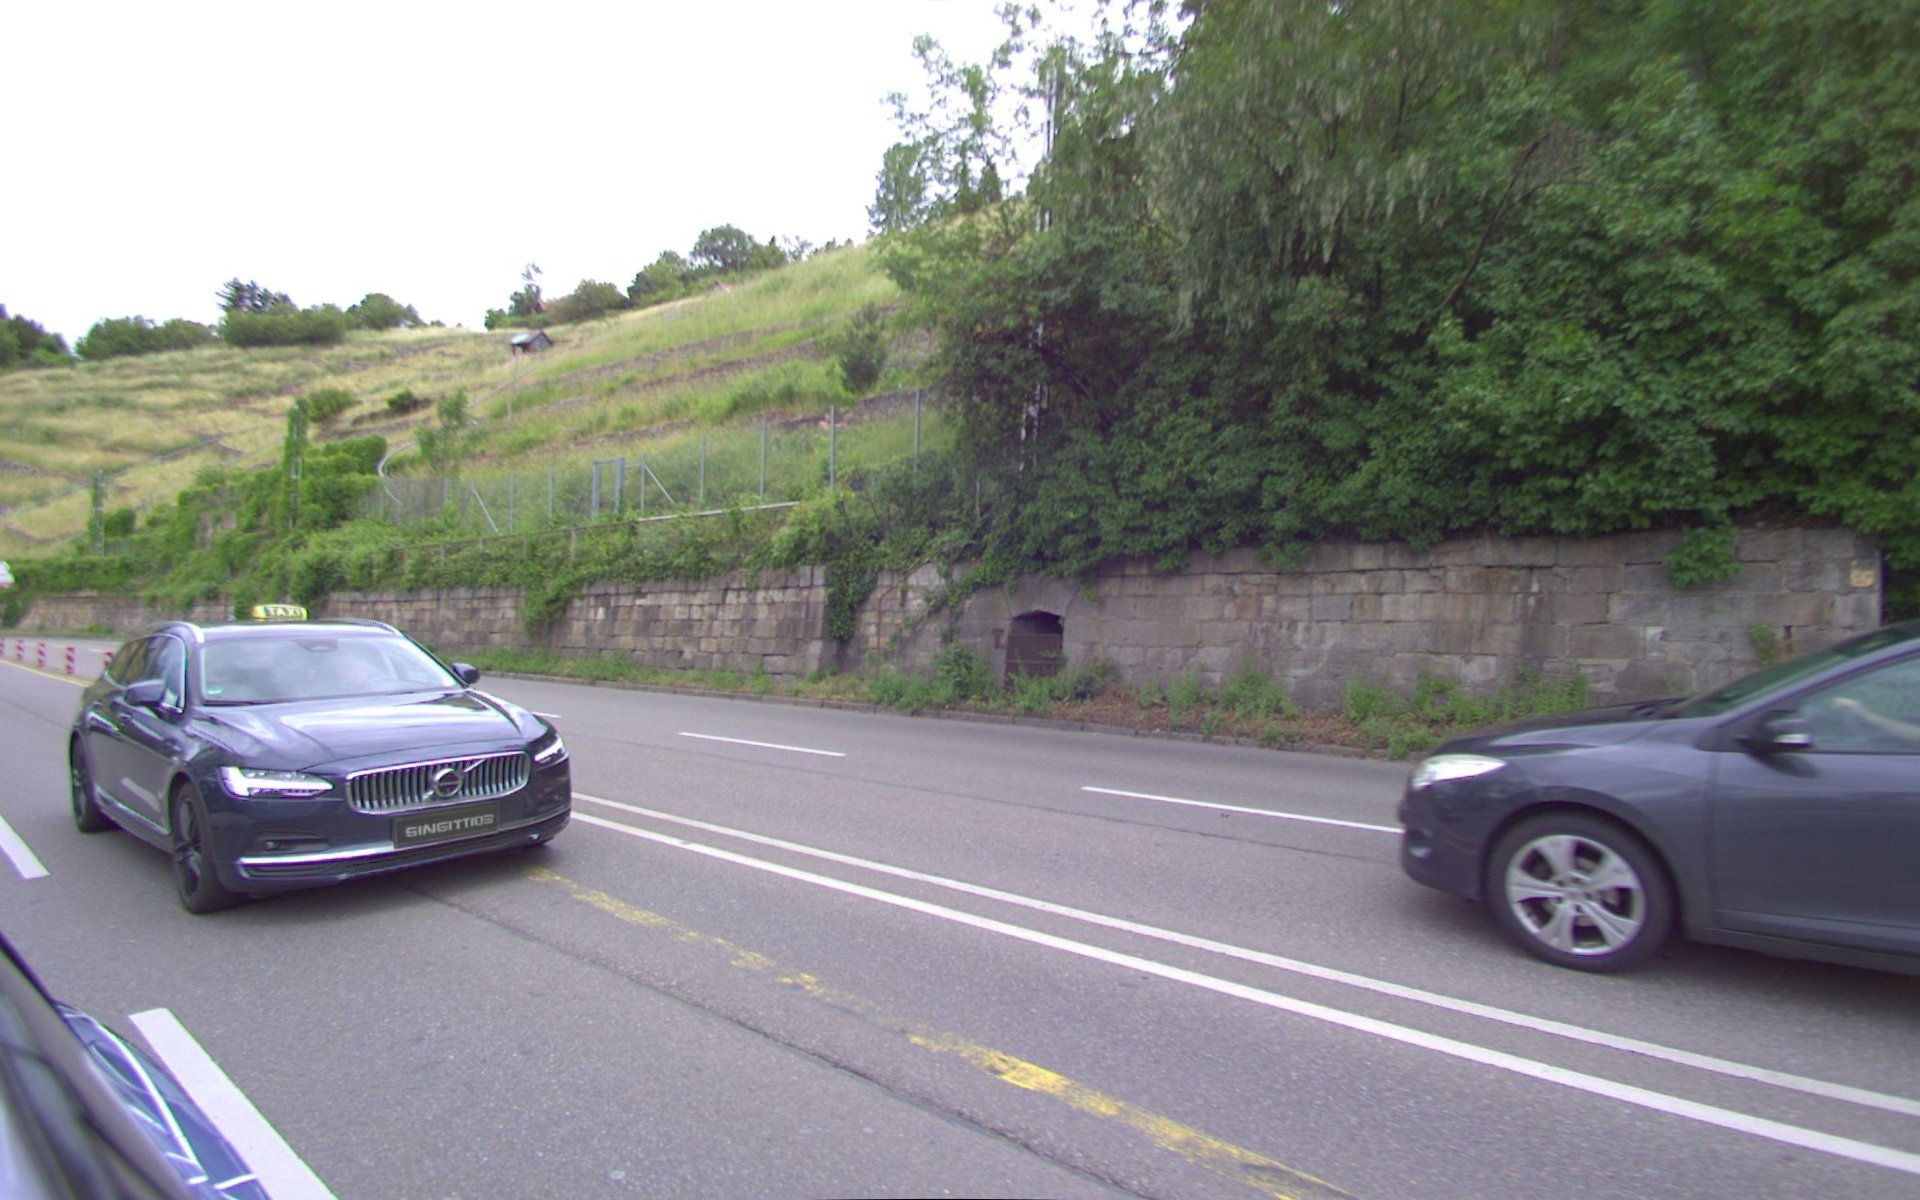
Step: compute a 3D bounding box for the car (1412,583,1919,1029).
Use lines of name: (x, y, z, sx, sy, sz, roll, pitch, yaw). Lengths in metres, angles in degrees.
car: (4.155, 0.656, 3.616, 4.294, 1.456, 1.837, -1, 0, 42)

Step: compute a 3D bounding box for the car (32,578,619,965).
car: (-4.423, 0.736, 6.613, 5.025, 1.588, 1.914, -1, 1, 42)
